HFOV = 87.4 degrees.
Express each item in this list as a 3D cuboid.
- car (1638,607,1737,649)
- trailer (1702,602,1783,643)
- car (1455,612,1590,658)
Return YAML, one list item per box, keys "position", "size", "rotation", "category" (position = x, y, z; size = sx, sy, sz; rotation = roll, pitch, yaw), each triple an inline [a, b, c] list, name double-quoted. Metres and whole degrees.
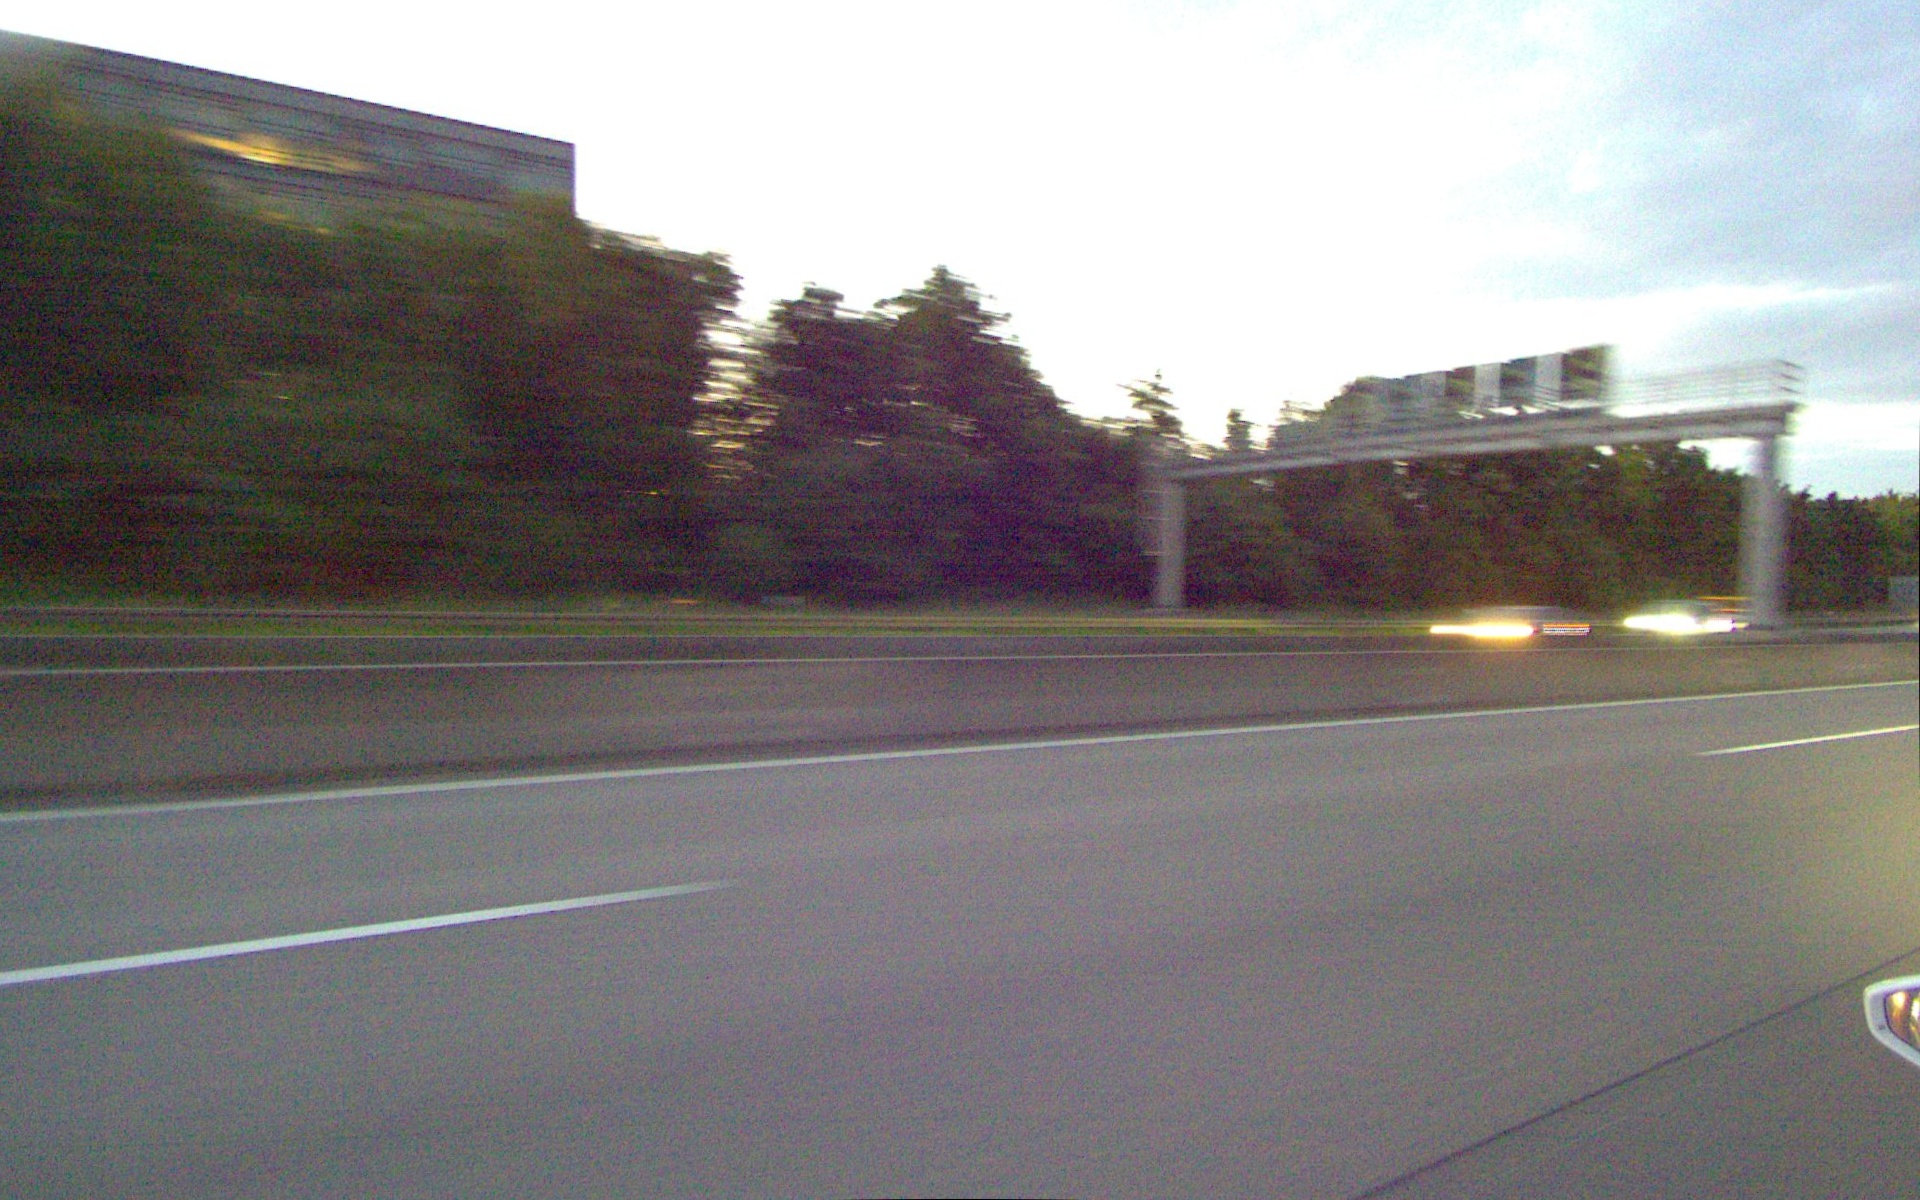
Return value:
- position: [35.686, 1.393, 49.211]
  size: [5.460, 1.892, 1.903]
  rotation: [2, 0, -31]
  category: "car"
- position: [41.114, 1.184, 52.757]
  size: [4.191, 2.029, 1.903]
  rotation: [1, 2, -31]
  category: "trailer"
- position: [18.549, 1.152, 33.073]
  size: [4.841, 1.372, 1.681]
  rotation: [2, 0, -31]
  category: "car"
